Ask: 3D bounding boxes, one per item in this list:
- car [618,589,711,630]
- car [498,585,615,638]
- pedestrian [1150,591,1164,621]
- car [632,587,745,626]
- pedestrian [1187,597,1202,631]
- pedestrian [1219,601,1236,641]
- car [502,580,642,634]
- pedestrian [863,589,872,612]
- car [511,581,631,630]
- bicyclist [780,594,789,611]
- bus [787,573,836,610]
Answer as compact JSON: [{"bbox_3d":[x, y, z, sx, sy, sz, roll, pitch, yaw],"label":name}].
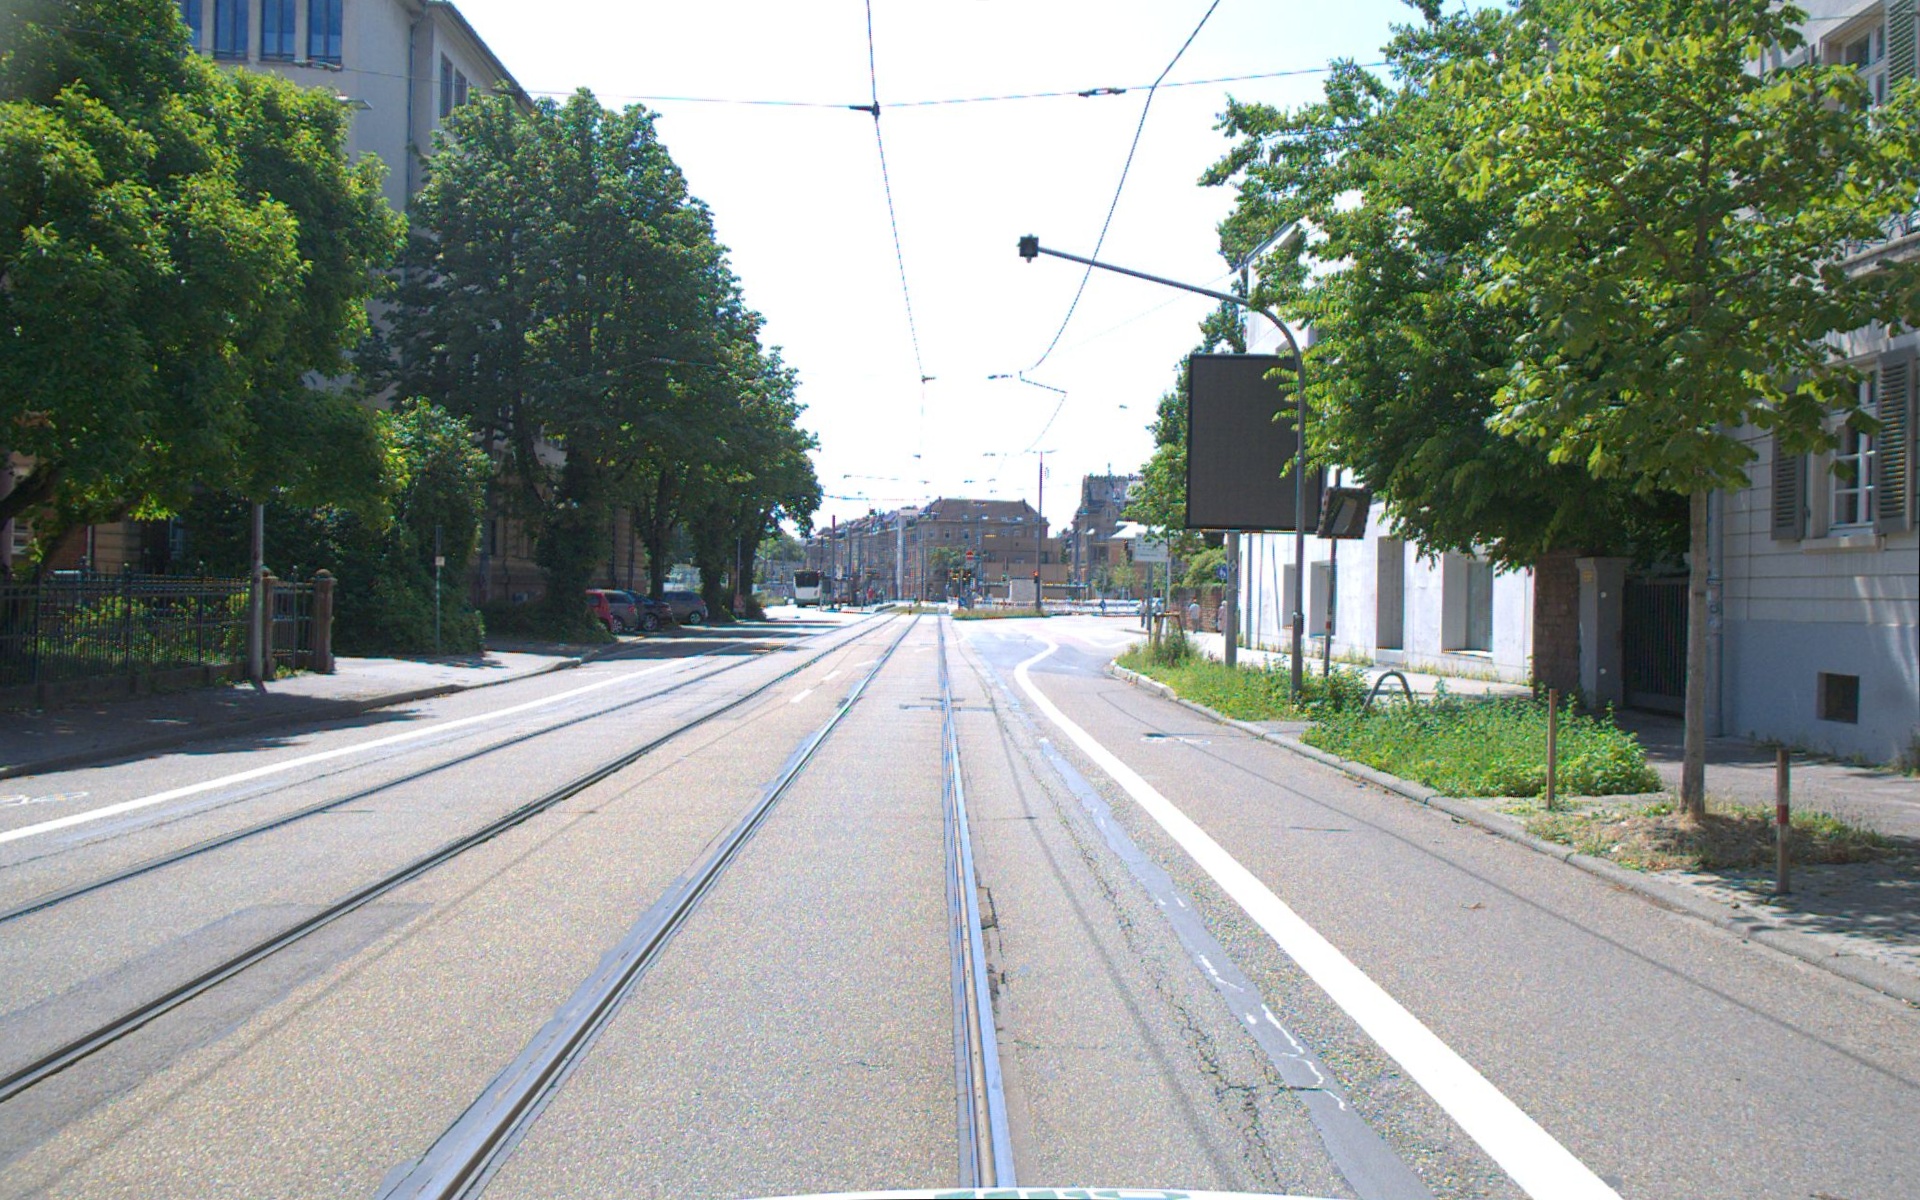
[{"bbox_3d":[-12.866,0.410,72.030,3.625,1.546,1.653,3,-1,-29],"label":"car"},{"bbox_3d":[-12.842,0.370,52.595,3.301,1.542,1.655,3,0,-27],"label":"car"},{"bbox_3d":[12.277,0.397,103.075,0.797,1.839,0.700,1,0,3],"label":"pedestrian"},{"bbox_3d":[-10.244,0.241,62.394,3.873,1.398,1.655,1,0,-27],"label":"car"},{"bbox_3d":[11.571,0.699,81.648,0.647,1.676,0.625,1,0,4],"label":"pedestrian"},{"bbox_3d":[12.361,0.980,76.434,0.613,1.804,0.719,-2,0,14],"label":"pedestrian"},{"bbox_3d":[-13.049,0.245,55.662,4.263,1.612,1.653,3,-1,-30],"label":"car"},{"bbox_3d":[-7.889,0.035,140.936,0.660,1.943,0.639,1,0,-11],"label":"pedestrian"},{"bbox_3d":[-13.724,0.199,58.333,3.766,1.604,1.776,1,0,-30],"label":"car"},{"bbox_3d":[-18.118,0.278,170.520,0.804,1.739,0.770,2,0,-2],"label":"bicyclist"},{"bbox_3d":[-13.510,-0.756,152.023,2.949,3.213,17.496,1,0,0],"label":"bus"}]
